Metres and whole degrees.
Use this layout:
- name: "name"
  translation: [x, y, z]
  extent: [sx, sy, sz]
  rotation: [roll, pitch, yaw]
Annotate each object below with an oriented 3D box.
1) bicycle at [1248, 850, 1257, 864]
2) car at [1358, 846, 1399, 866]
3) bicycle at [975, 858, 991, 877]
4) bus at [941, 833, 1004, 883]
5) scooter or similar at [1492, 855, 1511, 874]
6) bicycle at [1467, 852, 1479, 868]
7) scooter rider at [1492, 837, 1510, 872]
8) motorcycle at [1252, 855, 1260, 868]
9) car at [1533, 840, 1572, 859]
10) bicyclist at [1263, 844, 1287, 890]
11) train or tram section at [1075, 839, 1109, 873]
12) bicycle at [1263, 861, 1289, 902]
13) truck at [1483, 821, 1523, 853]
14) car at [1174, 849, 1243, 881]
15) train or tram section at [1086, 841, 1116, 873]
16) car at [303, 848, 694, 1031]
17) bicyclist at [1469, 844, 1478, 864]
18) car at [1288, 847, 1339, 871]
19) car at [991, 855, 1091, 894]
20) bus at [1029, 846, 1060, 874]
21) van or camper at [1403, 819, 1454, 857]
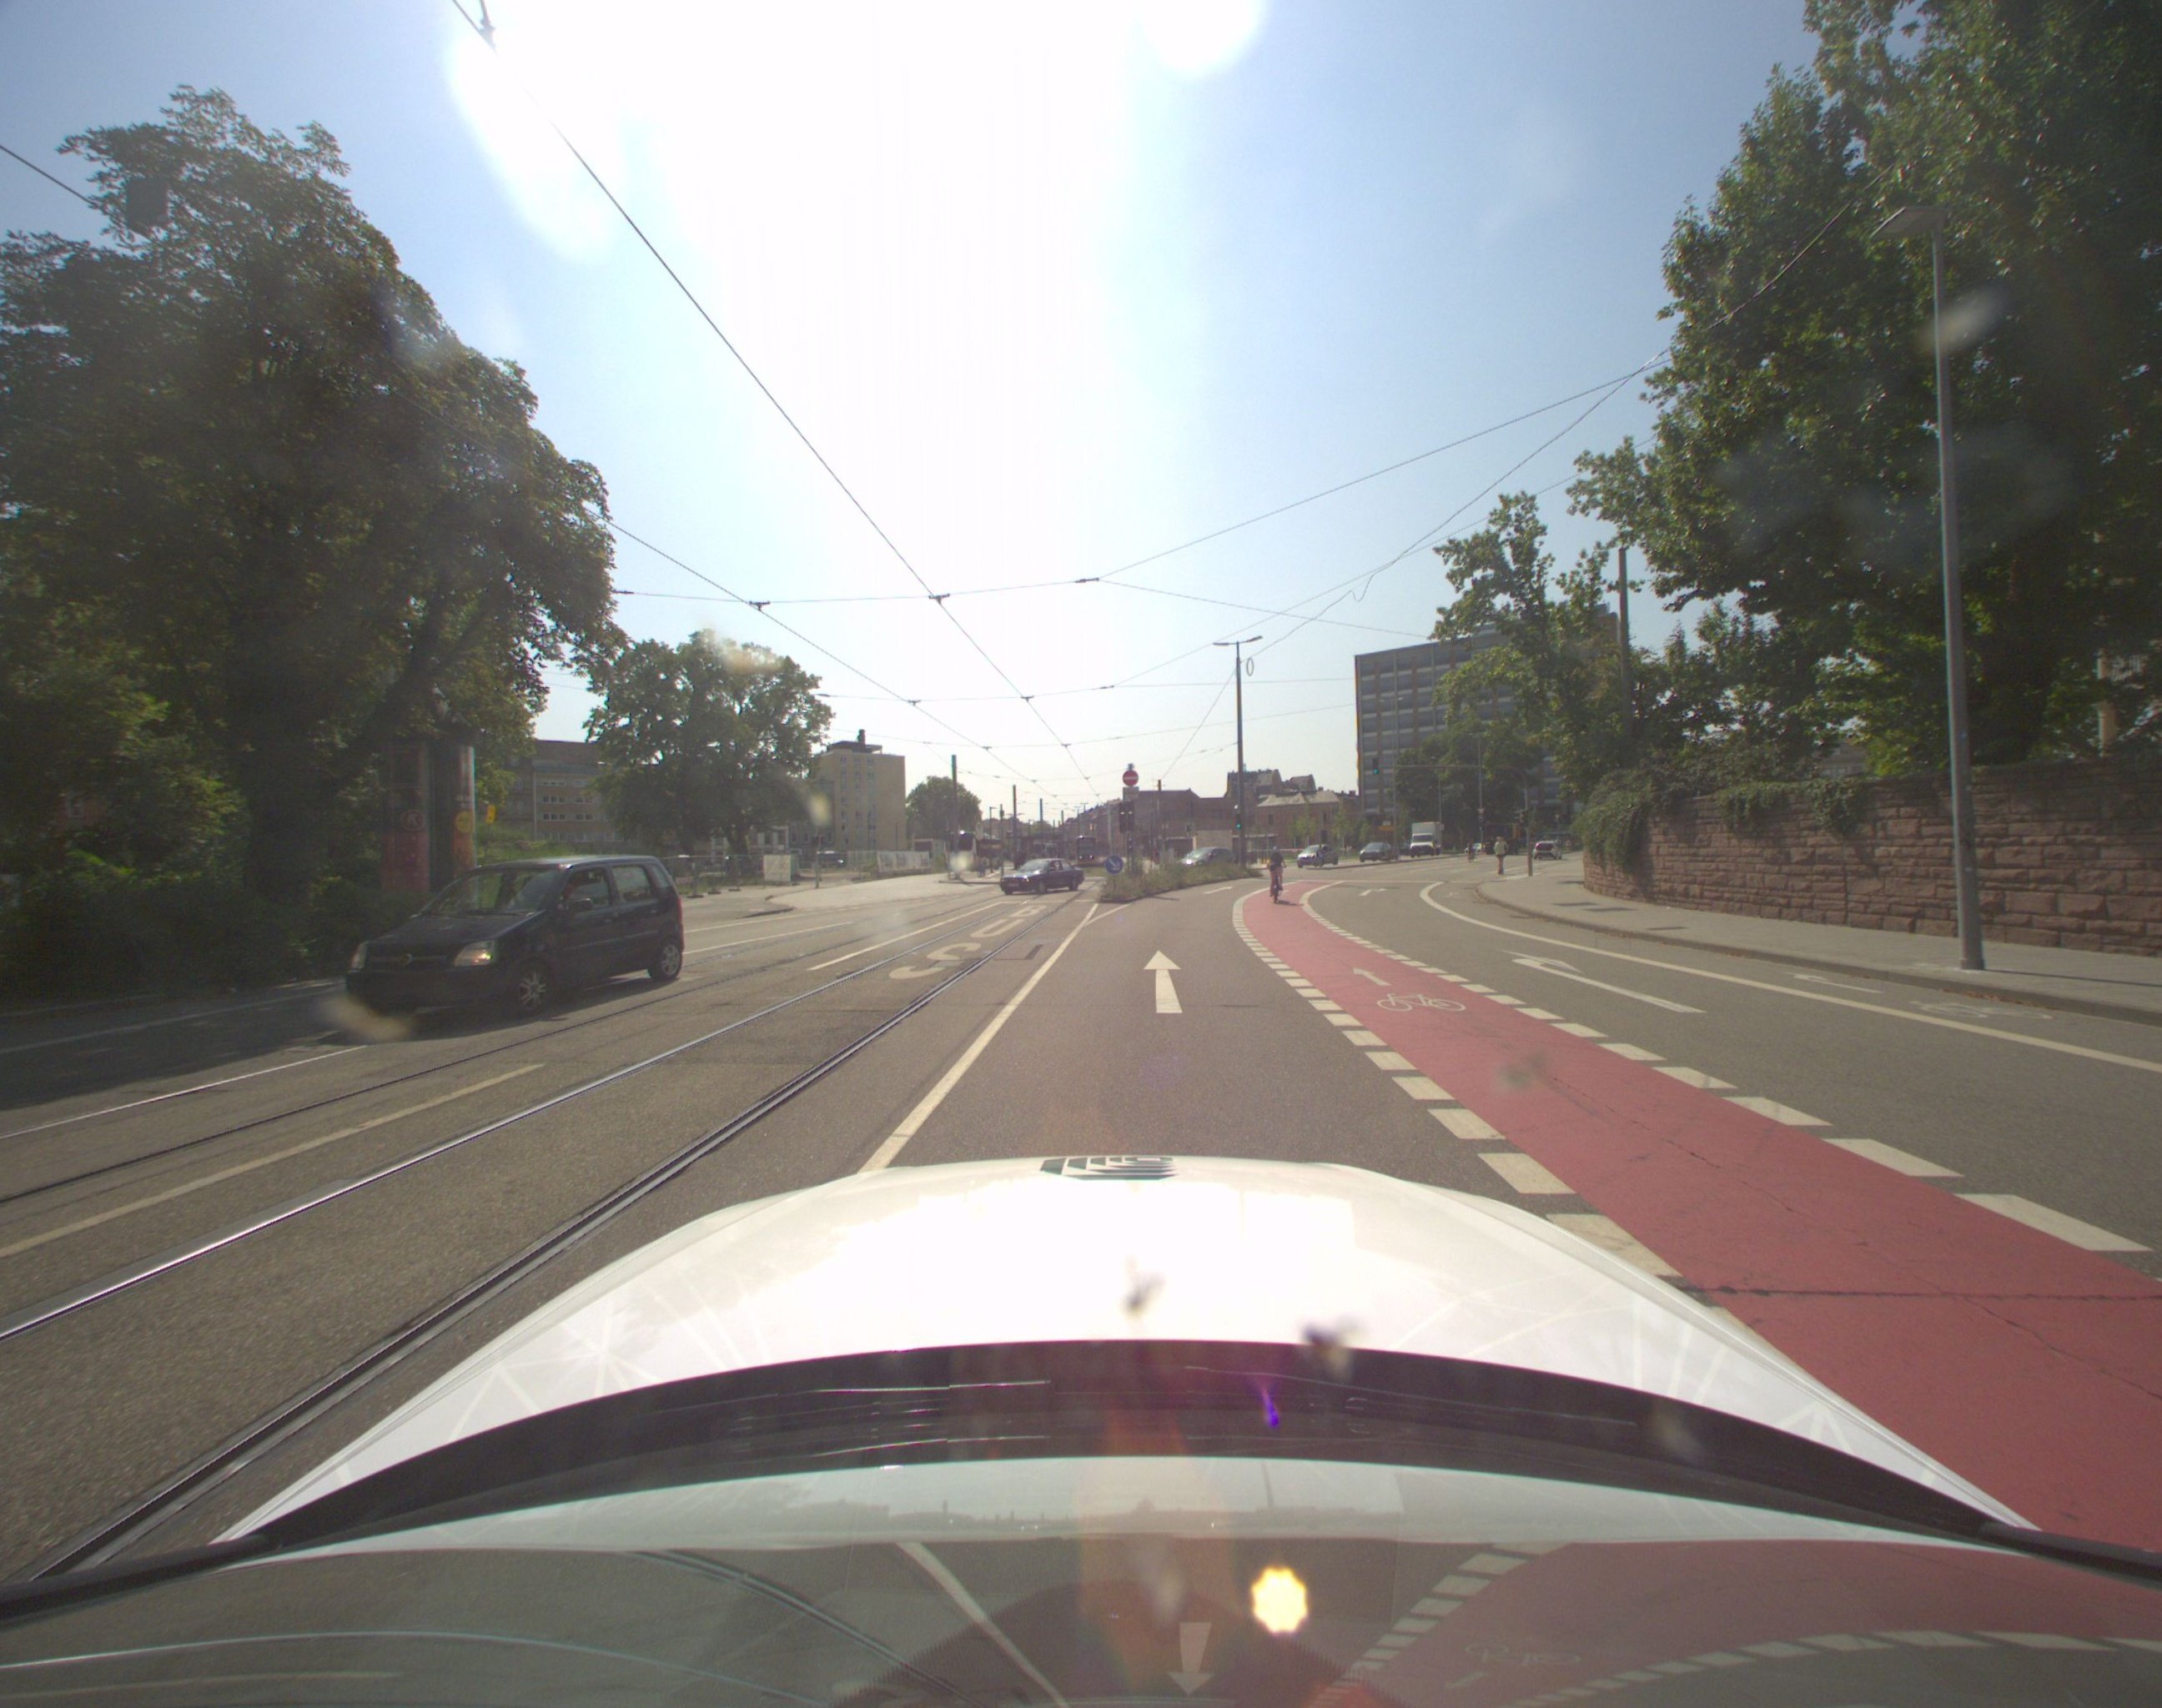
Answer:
- name: "bicycle"
  translation: [14.714, 0.253, 69.889]
  extent: [0.599, 1.210, 1.818]
  rotation: [-2, 0, 15]
- name: "car"
  translation: [23.615, 0.139, 64.530]
  extent: [1.680, 1.530, 4.209]
  rotation: [-3, -1, 39]
- name: "bicycle"
  translation: [-6.389, 0.887, 53.225]
  extent: [0.604, 1.223, 1.709]
  rotation: [-2, -1, 8]
- name: "bus"
  translation: [-8.712, 0.359, 66.820]
  extent: [2.945, 3.775, 10.607]
  rotation: [-1, -1, 4]
- name: "scooter or similar"
  translation: [21.419, 0.518, 41.471]
  extent: [0.765, 0.926, 1.630]
  rotation: [-1, 0, 29]
- name: "bicycle"
  translation: [28.540, 0.462, 59.312]
  extent: [0.440, 1.117, 1.455]
  rotation: [-3, -1, 38]
- name: "scooter rider"
  translation: [21.447, 0.016, 41.574]
  extent: [0.755, 1.775, 0.558]
  rotation: [-2, -1, 28]
- name: "motorcycle"
  translation: [16.193, 0.670, 75.341]
  extent: [0.599, 1.211, 2.262]
  rotation: [-2, -1, 15]
- name: "car"
  translation: [37.232, -0.366, 64.274]
  extent: [1.825, 1.391, 4.025]
  rotation: [-3, -1, 42]
- name: "bicyclist"
  translation: [5.783, 0.384, 24.227]
  extent: [0.598, 1.335, 0.663]
  rotation: [-2, -1, 17]
- name: "train or tram section"
  translation: [1.436, 0.283, 95.760]
  extent: [2.843, 3.548, 17.761]
  rotation: [-1, -1, 4]
- name: "bicycle"
  translation: [5.844, 0.797, 24.335]
  extent: [0.599, 1.163, 1.818]
  rotation: [-2, -1, 17]
- name: "truck"
  translation: [41.107, -1.599, 79.243]
  extent: [2.670, 2.990, 6.004]
  rotation: [-2, -1, 34]
- name: "car"
  translation: [7.108, 0.578, 45.043]
  extent: [1.754, 1.610, 4.703]
  rotation: [-2, -1, 37]
- name: "train or tram section"
  translation: [2.940, 0.489, 114.188]
  extent: [2.872, 4.068, 19.166]
  rotation: [-1, -1, 5]
- name: "car"
  translation: [-6.229, 0.811, 9.292]
  extent: [1.683, 1.655, 3.585]
  rotation: [-1, -1, 5]
- name: "bicyclist"
  translation: [28.620, 0.011, 59.437]
  extent: [0.445, 1.421, 0.499]
  rotation: [-3, -1, 38]
- name: "car"
  translation: [16.086, 0.311, 56.194]
  extent: [1.635, 1.530, 4.352]
  rotation: [-3, -1, 41]
- name: "car"
  translation: [-1.498, 0.775, 32.586]
  extent: [1.671, 1.378, 4.647]
  rotation: [-2, -1, 30]
- name: "bus"
  translation: [-4.877, 0.828, 112.354]
  extent: [2.696, 3.727, 10.435]
  rotation: [-1, -1, 6]
- name: "van or camper"
  translation: [32.805, -1.483, 76.823]
  extent: [2.376, 3.306, 7.236]
  rotation: [-3, -1, 39]
